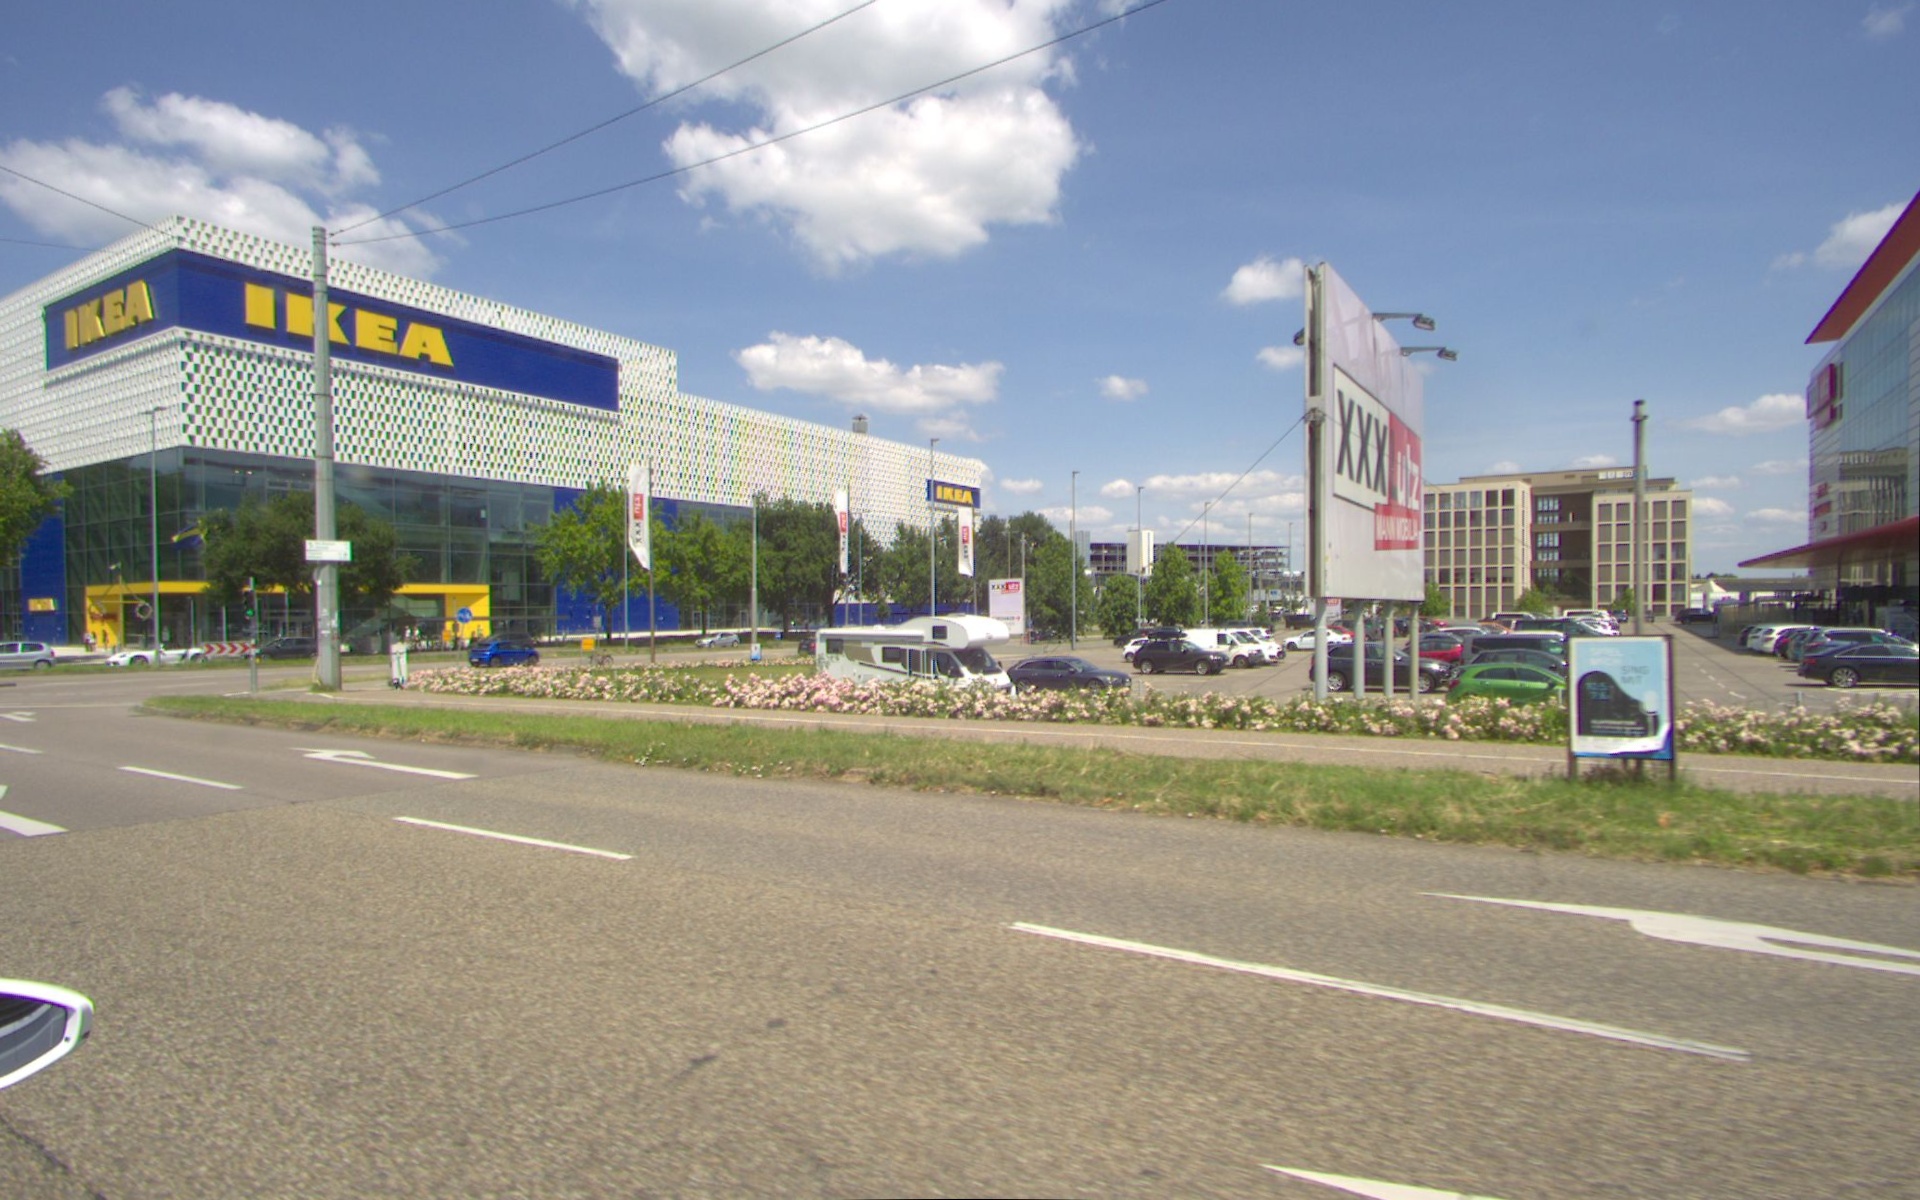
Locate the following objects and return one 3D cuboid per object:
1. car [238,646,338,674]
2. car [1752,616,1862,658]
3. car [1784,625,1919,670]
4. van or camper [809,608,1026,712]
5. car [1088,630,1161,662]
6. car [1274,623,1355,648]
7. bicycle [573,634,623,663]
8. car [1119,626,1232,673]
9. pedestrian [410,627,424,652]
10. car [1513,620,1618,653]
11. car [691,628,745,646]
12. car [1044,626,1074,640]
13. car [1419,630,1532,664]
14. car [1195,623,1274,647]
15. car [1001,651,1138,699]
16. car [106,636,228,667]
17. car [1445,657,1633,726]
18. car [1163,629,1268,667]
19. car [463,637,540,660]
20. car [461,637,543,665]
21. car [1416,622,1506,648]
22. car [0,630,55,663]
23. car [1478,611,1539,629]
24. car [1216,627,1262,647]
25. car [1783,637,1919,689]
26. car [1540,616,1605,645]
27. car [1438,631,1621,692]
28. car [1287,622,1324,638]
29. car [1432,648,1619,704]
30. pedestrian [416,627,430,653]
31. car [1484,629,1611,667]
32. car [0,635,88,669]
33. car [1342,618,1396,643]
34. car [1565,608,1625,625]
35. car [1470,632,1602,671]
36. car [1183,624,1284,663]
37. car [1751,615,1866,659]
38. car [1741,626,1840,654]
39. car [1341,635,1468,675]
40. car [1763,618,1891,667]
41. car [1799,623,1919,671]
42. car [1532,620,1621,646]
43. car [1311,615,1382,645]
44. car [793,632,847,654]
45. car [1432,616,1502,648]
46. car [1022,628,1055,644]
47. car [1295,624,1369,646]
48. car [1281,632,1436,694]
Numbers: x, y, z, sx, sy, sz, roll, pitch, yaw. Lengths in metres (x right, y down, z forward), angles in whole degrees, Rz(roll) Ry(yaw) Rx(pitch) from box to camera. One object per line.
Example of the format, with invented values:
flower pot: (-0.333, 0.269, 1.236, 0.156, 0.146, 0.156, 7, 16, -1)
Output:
car: (-39.216, 3.452, 58.548, 1.974, 1.505, 4.485, -1, -2, 35)
car: (42.491, 1.871, 50.362, 3.943, 2.039, 1.990, -2, -1, 32)
car: (37.014, 1.960, 41.417, 4.272, 1.803, 1.991, -1, -3, 33)
van or camper: (-1.515, 1.889, 32.732, 7.129, 3.058, 2.499, -1, -2, 36)
car: (9.947, 2.786, 60.448, 3.936, 1.839, 1.993, -1, -1, 26)
car: (24.220, 2.433, 68.433, 4.930, 1.631, 1.990, -1, -2, 33)
bicycle: (-19.425, 2.594, 53.735, 0.976, 1.500, 2.415, -1, -2, 36)
car: (10.309, 2.355, 48.055, 4.930, 2.162, 1.990, -1, -2, 33)
pedestrian: (-44.410, 3.198, 81.838, 0.813, 2.039, 0.709, -1, -1, 34)
car: (35.003, 2.114, 58.035, 5.106, 1.889, 1.991, -1, -2, 31)
car: (-21.789, 3.363, 90.276, 1.974, 1.504, 4.486, -1, -3, 35)
car: (11.246, 3.753, 113.678, 1.741, 1.546, 4.080, -1, -1, 31)
car: (25.821, 2.344, 50.224, 4.928, 1.631, 1.991, -1, -2, 32)
car: (18.799, 2.392, 68.683, 4.922, 1.631, 1.993, -1, -2, 27)
car: (4.062, 2.750, 37.348, 4.702, 1.557, 1.989, -1, 0, 33)
car: (-40.026, 2.596, 50.626, 1.974, 1.504, 4.486, -1, -3, 35)
car: (15.558, 2.399, 27.035, 4.242, 1.517, 1.988, -1, 2, 33)
car: (13.240, 2.483, 52.018, 4.930, 1.876, 1.990, -1, -2, 33)
car: (-31.718, 3.354, 69.438, 1.974, 1.504, 4.486, -1, -3, 35)
car: (-25.856, 2.875, 56.627, 1.813, 1.472, 3.989, 0, -3, 26)
car: (31.890, 2.240, 63.800, 4.930, 1.631, 1.990, -1, -2, 33)
car: (-45.808, 2.201, 47.599, 1.974, 1.504, 3.779, -1, -3, 36)
car: (51.519, 1.886, 94.059, 4.930, 1.631, 1.990, -1, -2, 33)
car: (27.453, 3.628, 98.545, 3.943, 1.863, 1.819, -2, -1, 32)
car: (30.361, 2.026, 32.866, 4.930, 1.631, 1.990, -1, -2, 33)
car: (44.825, 2.235, 73.335, 3.943, 2.039, 1.990, -2, -1, 32)
car: (19.995, 2.110, 35.329, 5.456, 2.039, 1.990, -1, -2, 33)
car: (42.800, 3.704, 123.993, 4.068, 2.039, 1.479, -1, -2, 32)
car: (17.537, 2.302, 31.204, 4.930, 1.570, 1.990, -1, -2, 33)
pedestrian: (-43.533, 3.226, 81.172, 0.813, 2.039, 0.709, -1, -1, 34)
car: (26.947, 2.193, 46.006, 4.930, 1.671, 1.990, -1, -2, 33)
car: (-43.108, 2.381, 45.851, 1.974, 1.504, 4.486, -1, -3, 35)
car: (34.593, 2.584, 84.749, 3.943, 2.039, 1.990, -2, -1, 32)
car: (62.577, 1.628, 98.700, 4.930, 1.631, 1.990, -1, -2, 33)
car: (25.158, 2.219, 43.838, 4.930, 1.631, 1.990, -1, -2, 33)
car: (14.764, 2.351, 54.105, 4.930, 2.033, 1.990, -1, -2, 33)
car: (40.838, 1.786, 48.318, 3.943, 2.039, 1.990, -1, -2, 32)
car: (45.778, 2.182, 55.289, 3.943, 1.505, 1.990, -1, -2, 32)
car: (19.817, 2.410, 44.715, 4.930, 1.631, 1.989, -1, -1, 33)
car: (37.818, 1.856, 43.814, 3.943, 2.039, 1.990, -2, -1, 32)
car: (35.515, 1.829, 38.855, 4.272, 1.803, 1.991, -1, -3, 33)
car: (40.730, 2.175, 66.234, 4.930, 1.631, 1.990, -1, -2, 33)
car: (30.442, 2.389, 78.993, 4.930, 2.333, 1.990, -1, -2, 33)
car: (-10.343, 3.127, 74.171, 1.741, 1.546, 4.080, -1, -1, 31)
car: (33.331, 2.101, 65.810, 3.943, 2.039, 1.990, -1, -2, 32)
car: (7.882, 3.579, 100.369, 1.741, 1.546, 4.080, -1, -2, 31)
car: (27.789, 2.618, 74.906, 4.930, 1.631, 1.990, -1, -2, 33)
car: (14.385, 2.223, 36.274, 4.930, 2.040, 1.989, -1, 0, 33)
